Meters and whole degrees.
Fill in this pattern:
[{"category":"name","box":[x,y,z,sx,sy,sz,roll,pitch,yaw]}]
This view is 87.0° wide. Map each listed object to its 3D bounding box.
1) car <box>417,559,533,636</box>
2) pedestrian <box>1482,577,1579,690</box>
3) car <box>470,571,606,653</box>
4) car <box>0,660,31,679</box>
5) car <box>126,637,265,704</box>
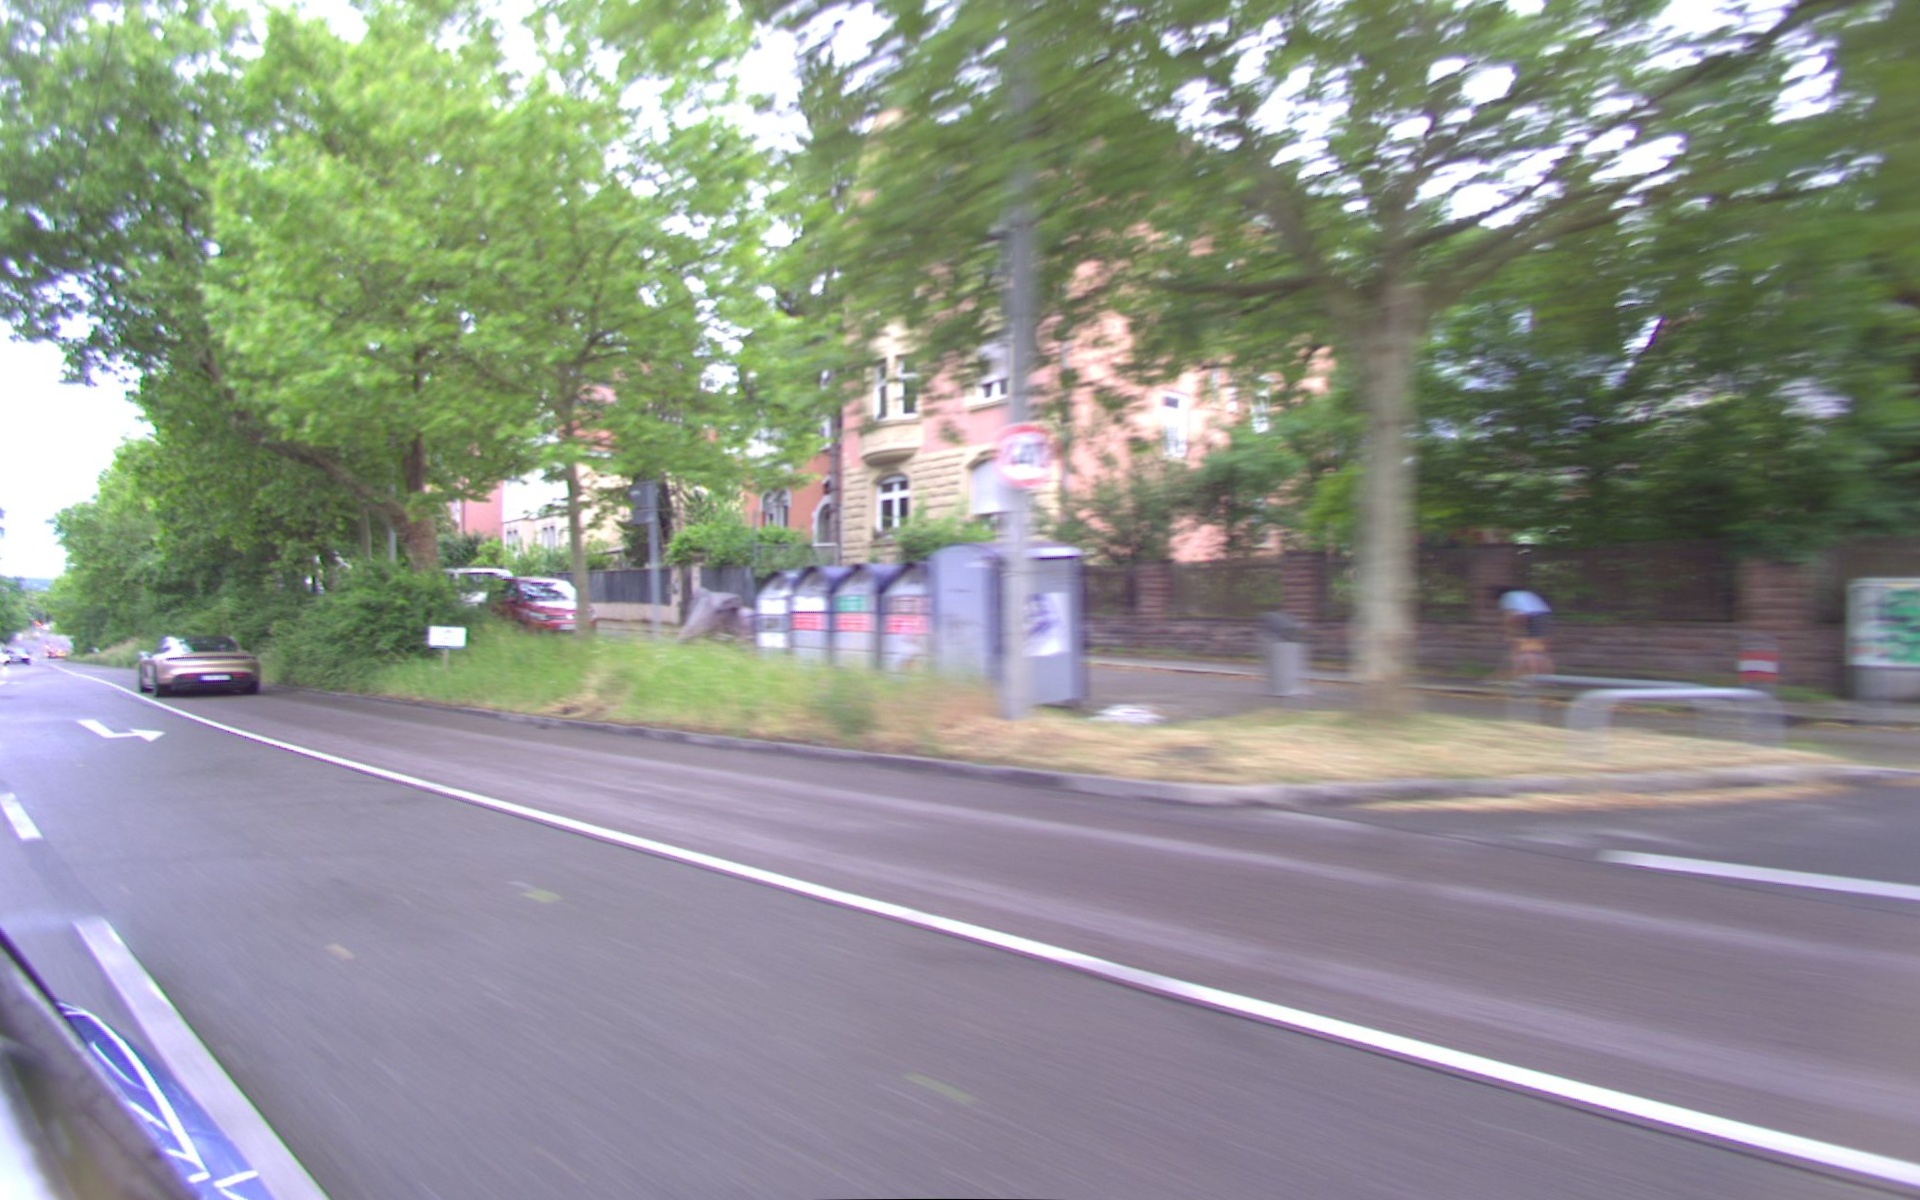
[{"category":"car","box":[-14.451,-0.012,30.005,1.969,2.029,4.634,-1,-2,-40]},{"category":"pedestrian","box":[7.257,0.417,12.880,0.781,1.365,0.792,-1,-2,-41]},{"category":"car","box":[-10.764,0.350,25.623,1.807,1.857,4.634,-1,-2,-40]},{"category":"car","box":[-75.941,5.567,81.185,1.970,1.453,4.003,-1,-2,-44]},{"category":"car","box":[-18.350,1.649,24.204,2.047,1.363,4.716,-1,-2,-45]}]
